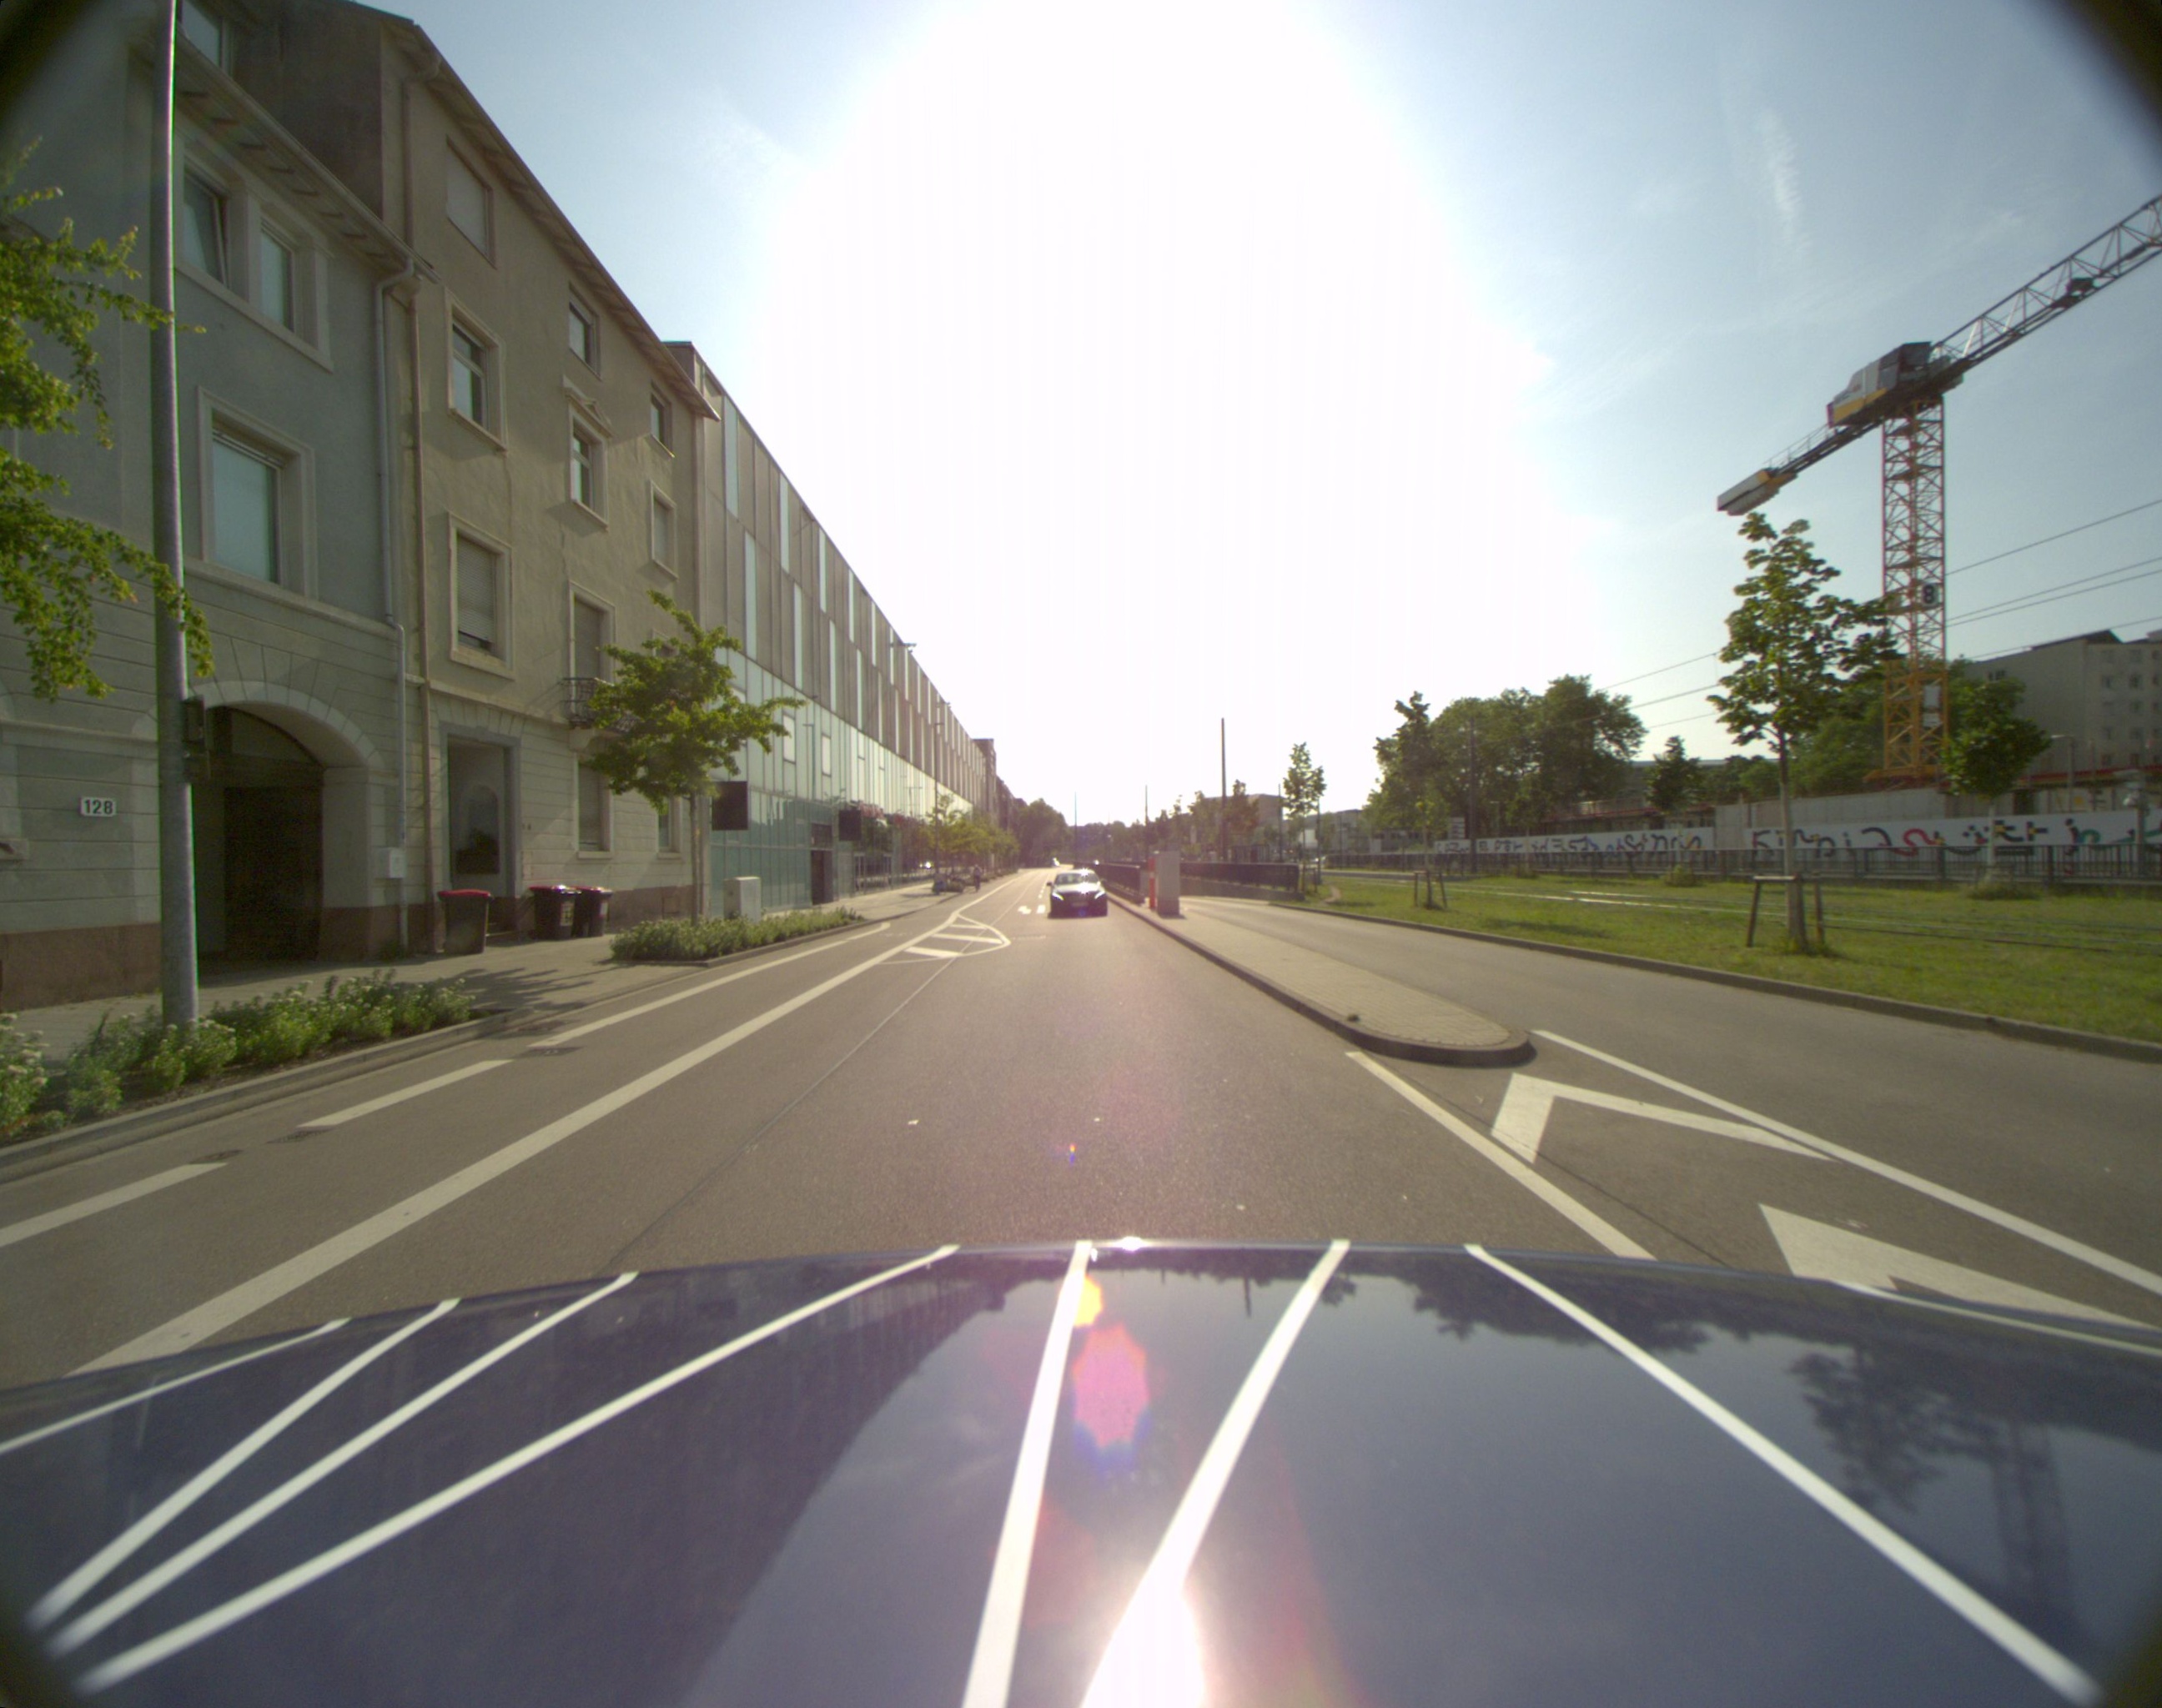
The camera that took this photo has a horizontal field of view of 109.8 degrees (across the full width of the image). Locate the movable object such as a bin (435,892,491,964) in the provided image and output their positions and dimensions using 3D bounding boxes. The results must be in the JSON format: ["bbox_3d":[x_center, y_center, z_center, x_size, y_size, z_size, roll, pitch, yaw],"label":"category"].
[{"bbox_3d":[-10.396,1.229,12.783,0.616,1.145,0.672,-3,-3,45],"label":"movable object such as a bin"}]

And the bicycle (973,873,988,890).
[{"bbox_3d":[-6.752,1.848,50.959,0.662,1.110,2.051,-1,0,1],"label":"bicycle"}]

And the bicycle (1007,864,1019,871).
[{"bbox_3d":[-10.511,2.115,117.434,1.883,1.103,0.490,-1,0,1],"label":"bicycle"}]

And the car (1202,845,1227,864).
[{"bbox_3d":[26.334,0.175,150.102,3.062,3.492,9.232,-1,0,-2],"label":"car"}]

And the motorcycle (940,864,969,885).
[{"bbox_3d":[-8.700,1.398,52.227,1.976,1.342,0.866,-1,0,-12],"label":"motorcycle"}]

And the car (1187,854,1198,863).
[{"bbox_3d":[26.848,1.125,183.666,1.957,2.002,4.000,-1,0,0],"label":"car"}]

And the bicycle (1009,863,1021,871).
[{"bbox_3d":[-10.573,2.065,121.611,1.844,1.106,0.687,-3,0,1],"label":"bicycle"}]

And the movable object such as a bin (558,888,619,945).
[{"bbox_3d":[-10.492,1.325,16.204,0.783,1.165,0.808,-1,-2,-2],"label":"movable object such as a bin"}]

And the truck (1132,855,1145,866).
[{"bbox_3d":[19.103,2.044,251.932,3.030,3.565,8.889,-1,-1,-3],"label":"truck"}]

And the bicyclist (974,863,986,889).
[{"bbox_3d":[-6.758,1.449,50.996,0.652,1.738,0.769,-1,0,1],"label":"bicyclist"}]

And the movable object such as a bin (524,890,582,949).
[{"bbox_3d":[-10.568,1.296,15.231,0.706,1.145,0.671,-1,-2,-2],"label":"movable object such as a bin"}]

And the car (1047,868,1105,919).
[{"bbox_3d":[-0.093,1.248,25.661,1.716,1.429,5.058,-2,0,1],"label":"car"}]
